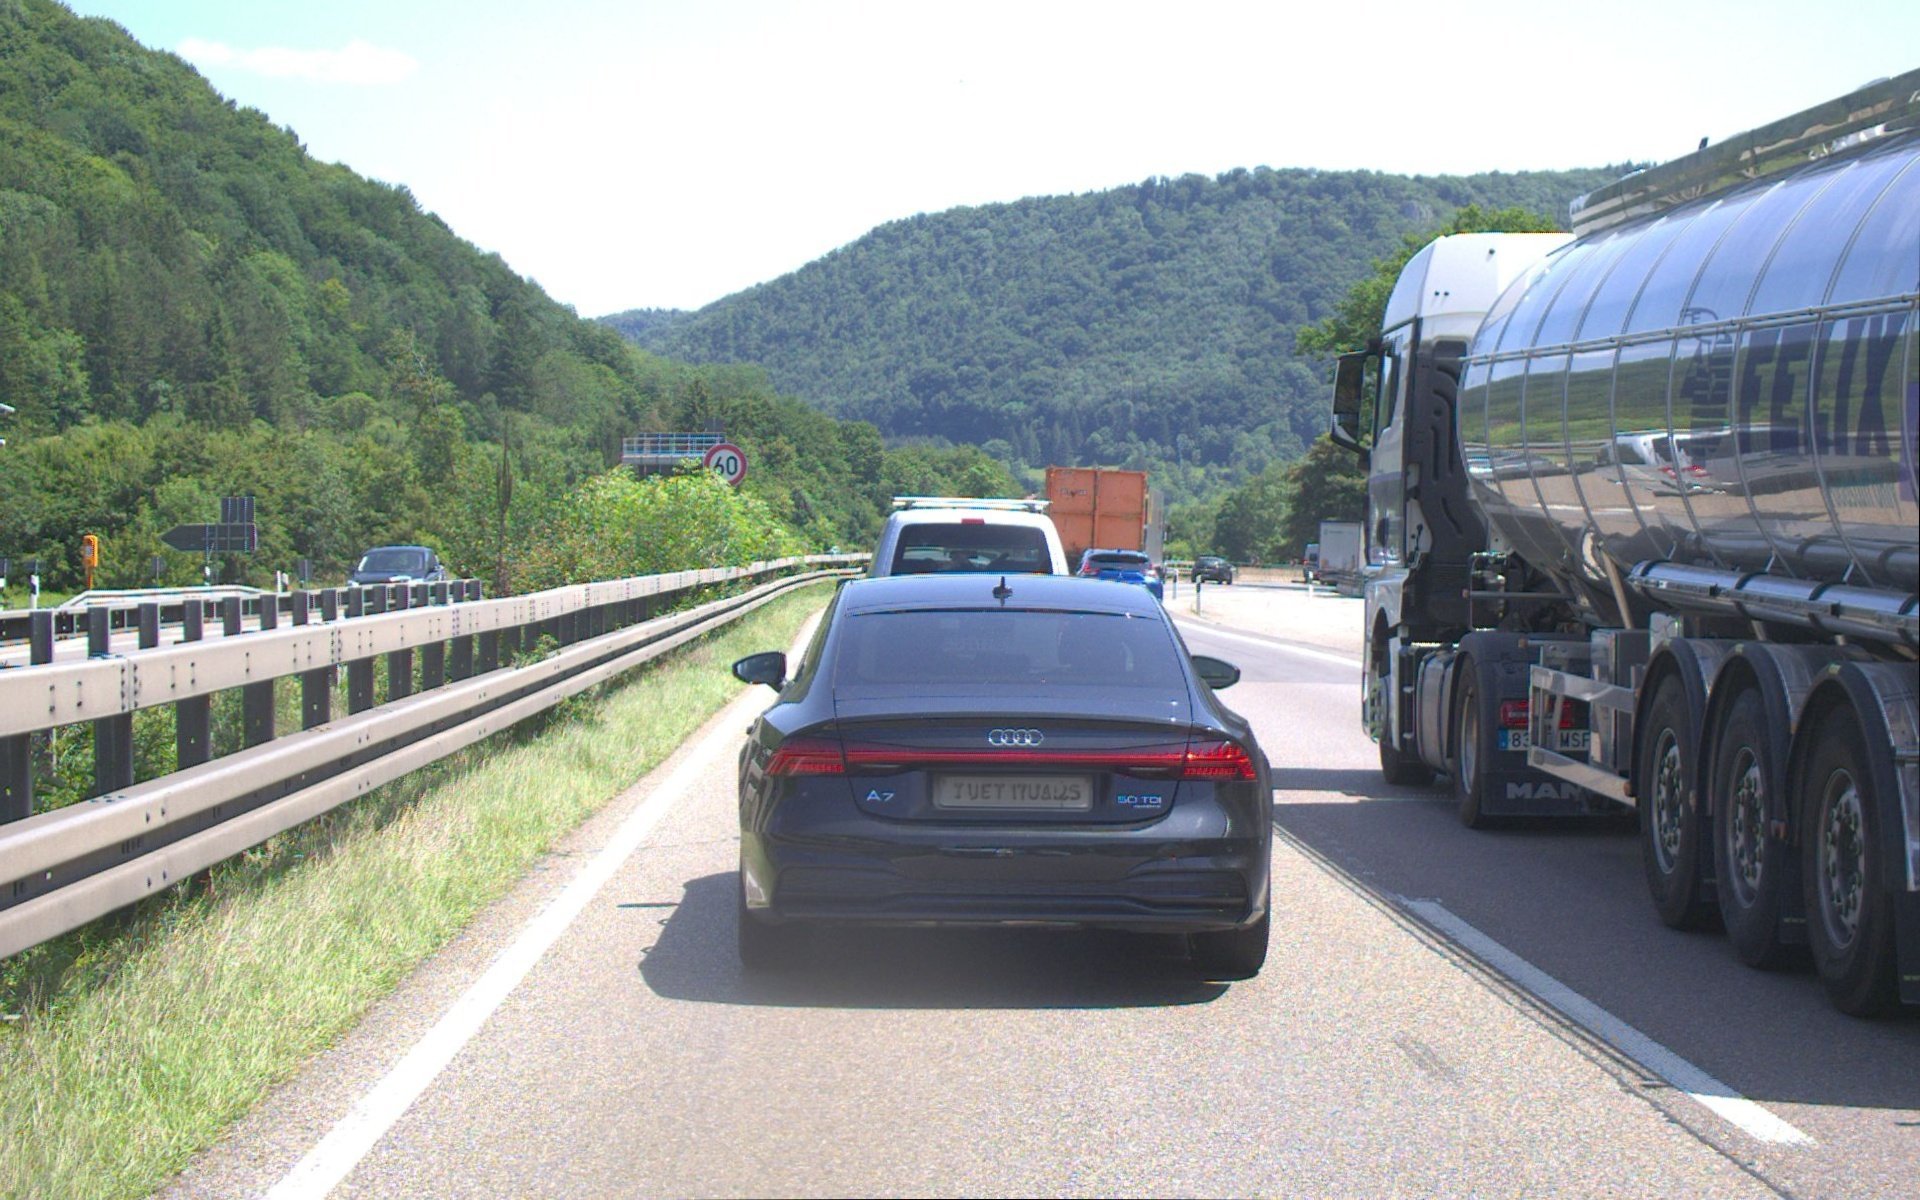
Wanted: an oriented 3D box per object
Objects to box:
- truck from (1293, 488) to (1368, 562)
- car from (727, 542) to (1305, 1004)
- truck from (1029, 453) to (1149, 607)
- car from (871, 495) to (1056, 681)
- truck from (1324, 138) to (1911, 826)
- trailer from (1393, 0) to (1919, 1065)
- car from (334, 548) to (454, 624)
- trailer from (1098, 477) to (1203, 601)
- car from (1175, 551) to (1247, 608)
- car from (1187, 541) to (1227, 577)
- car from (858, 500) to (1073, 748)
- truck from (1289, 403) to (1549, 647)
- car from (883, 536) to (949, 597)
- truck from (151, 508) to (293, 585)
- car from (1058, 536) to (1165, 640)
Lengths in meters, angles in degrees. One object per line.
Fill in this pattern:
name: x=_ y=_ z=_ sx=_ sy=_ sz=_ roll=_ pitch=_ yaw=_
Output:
truck: x=23.186 y=-4.631 z=214.468 sx=3.795 sy=4.399 sz=14.950 roll=1 pitch=1 yaw=9
car: x=0.048 y=0.530 z=13.160 sx=1.849 sy=1.483 sz=4.084 roll=0 pitch=1 yaw=-4
truck: x=3.529 y=-1.971 z=97.590 sx=2.817 sy=3.989 sz=14.956 roll=1 pitch=1 yaw=0
car: x=0.006 y=-0.165 z=39.315 sx=1.993 sy=2.007 sz=4.000 roll=1 pitch=1 yaw=-1
truck: x=3.884 y=-0.690 z=21.491 sx=2.511 sy=3.745 sz=5.246 roll=1 pitch=1 yaw=-1
trailer: x=4.039 y=-0.547 z=14.826 sx=2.538 sy=3.722 sz=11.893 roll=1 pitch=1 yaw=-1
car: x=-12.441 y=-0.328 z=75.796 sx=1.922 sy=1.615 sz=4.561 roll=0 pitch=1 yaw=-1
trailer: x=6.990 y=-2.250 z=127.483 sx=3.015 sy=4.367 sz=10.987 roll=1 pitch=1 yaw=-1
car: x=6.863 y=-0.568 z=94.286 sx=1.747 sy=1.525 sz=4.000 roll=0 pitch=1 yaw=1
car: x=13.620 y=-2.265 z=189.570 sx=1.994 sy=2.007 sz=3.999 roll=0 pitch=1 yaw=7
car: x=0.013 y=0.143 z=27.504 sx=1.576 sy=1.827 sz=4.000 roll=1 pitch=1 yaw=-1
truck: x=8.276 y=-1.371 z=64.117 sx=2.817 sy=3.989 sz=14.956 roll=1 pitch=1 yaw=0
car: x=-1.176 y=-0.928 z=93.143 sx=1.712 sy=1.613 sz=4.000 roll=0 pitch=1 yaw=0
truck: x=-26.484 y=-1.916 z=123.785 sx=3.580 sy=2.686 sz=8.449 roll=0 pitch=1 yaw=-2
car: x=3.006 y=-0.268 z=68.931 sx=1.993 sy=1.996 sz=4.000 roll=0 pitch=1 yaw=0
